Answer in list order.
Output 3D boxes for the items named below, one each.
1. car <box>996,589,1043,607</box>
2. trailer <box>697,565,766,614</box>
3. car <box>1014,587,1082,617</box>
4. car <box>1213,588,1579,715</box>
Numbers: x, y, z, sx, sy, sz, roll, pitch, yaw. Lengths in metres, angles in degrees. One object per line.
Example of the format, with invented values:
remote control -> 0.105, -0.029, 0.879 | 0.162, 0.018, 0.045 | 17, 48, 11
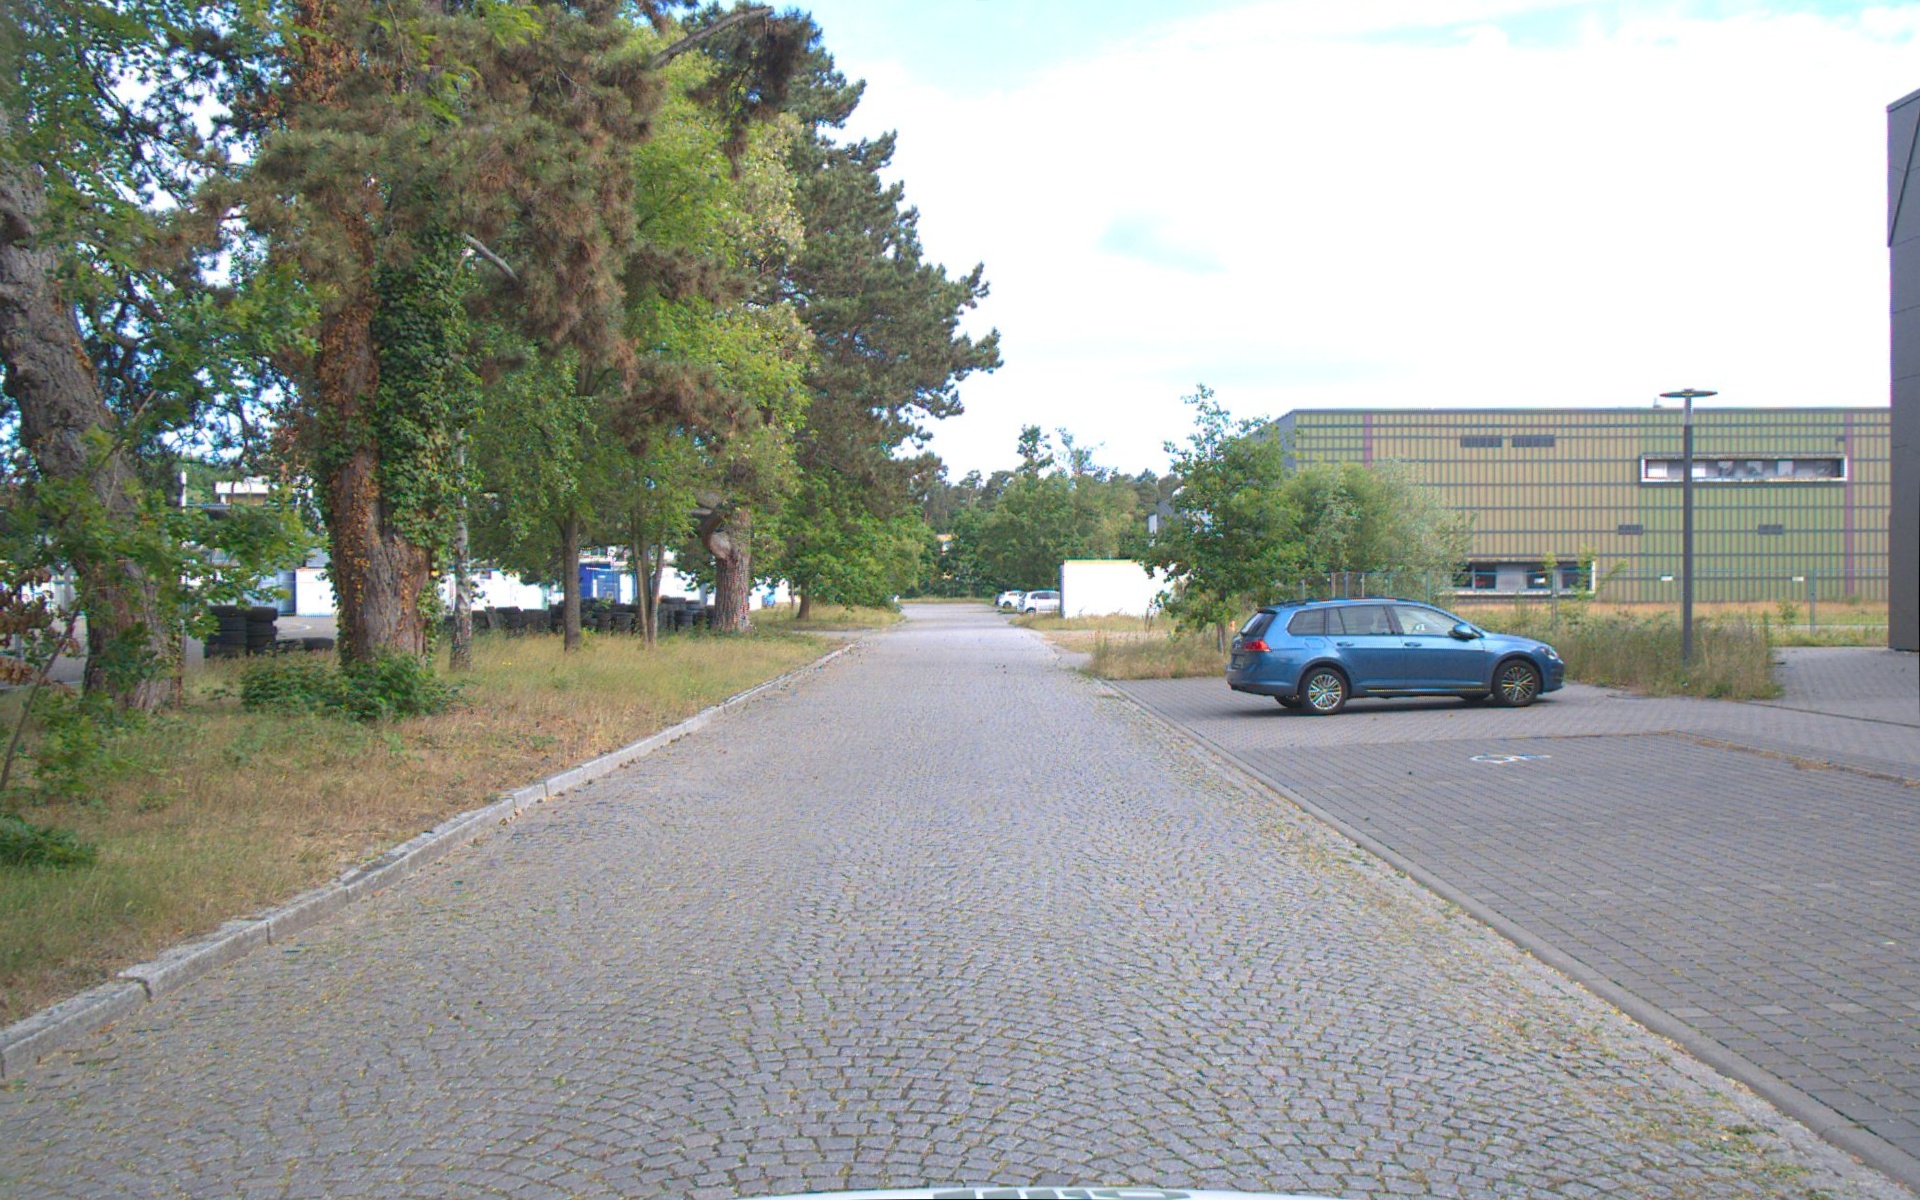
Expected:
car -> 5.104, -0.183, 142.128 | 3.942, 1.528, 1.548 | 0, 0, 0
trailer -> -14.889, -0.700, 108.489 | 3.093, 3.121, 8.786 | 0, 0, 2
car -> 5.093, 0.120, 95.978 | 3.773, 1.683, 1.685 | 0, 0, -3
car -> 5.842, 0.654, 22.471 | 4.432, 1.468, 1.822 | -2, 0, -4
